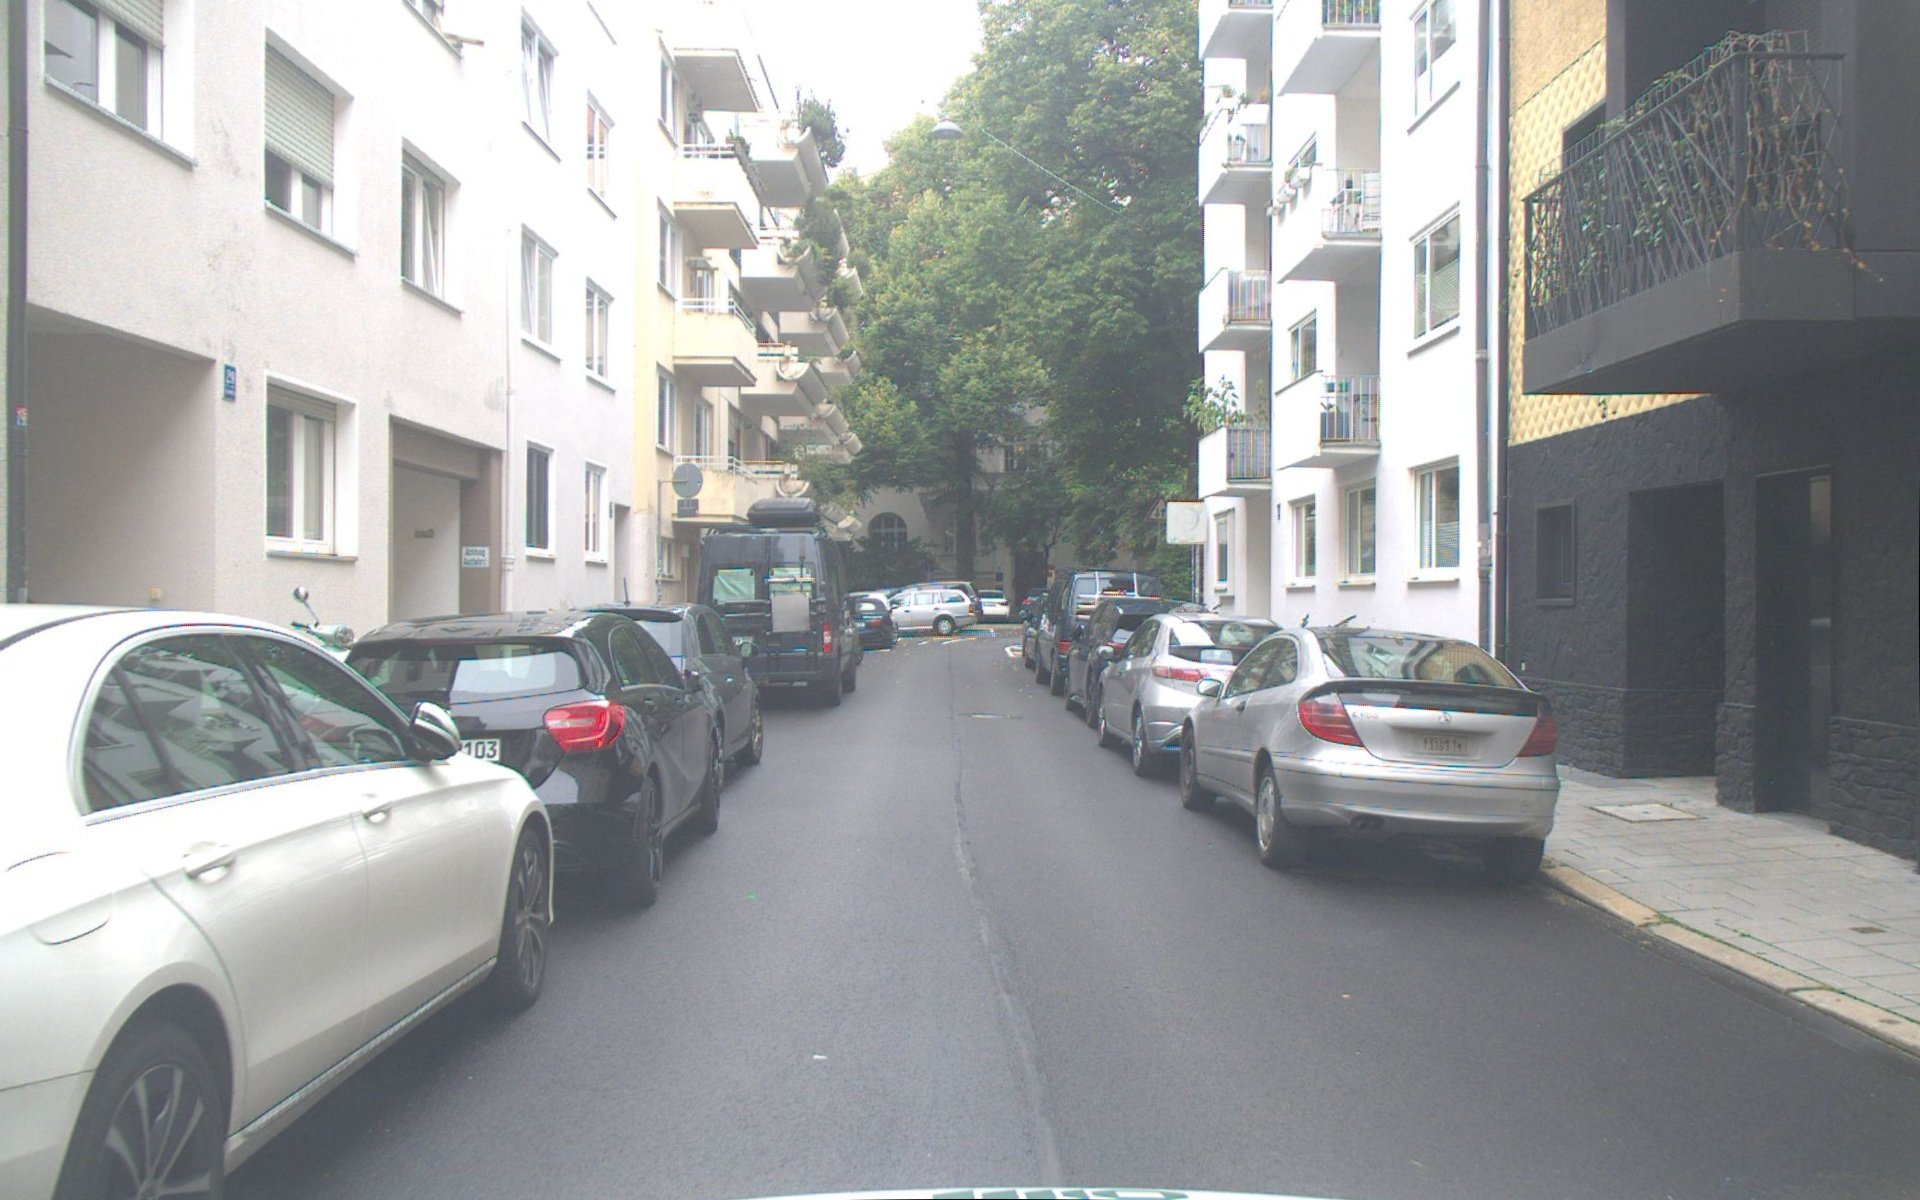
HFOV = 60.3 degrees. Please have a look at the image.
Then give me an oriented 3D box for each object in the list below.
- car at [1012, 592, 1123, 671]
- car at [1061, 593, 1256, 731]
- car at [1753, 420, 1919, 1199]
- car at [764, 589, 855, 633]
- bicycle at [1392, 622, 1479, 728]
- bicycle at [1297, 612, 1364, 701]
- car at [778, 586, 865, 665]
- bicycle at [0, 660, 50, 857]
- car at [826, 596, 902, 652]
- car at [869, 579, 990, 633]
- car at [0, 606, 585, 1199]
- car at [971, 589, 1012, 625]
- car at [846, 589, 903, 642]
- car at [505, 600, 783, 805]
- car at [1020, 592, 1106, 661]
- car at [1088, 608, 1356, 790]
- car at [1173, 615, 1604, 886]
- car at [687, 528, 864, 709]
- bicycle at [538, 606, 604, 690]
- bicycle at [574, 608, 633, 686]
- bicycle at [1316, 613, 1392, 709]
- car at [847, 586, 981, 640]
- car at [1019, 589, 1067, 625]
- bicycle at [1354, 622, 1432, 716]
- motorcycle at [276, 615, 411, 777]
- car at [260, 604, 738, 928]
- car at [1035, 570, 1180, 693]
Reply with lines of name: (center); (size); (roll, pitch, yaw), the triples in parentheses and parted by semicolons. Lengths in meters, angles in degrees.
car: (2.054, 0.568, 32.656); (1.796, 1.444, 4.057); (0, 0, -2)
car: (2.434, 0.717, 21.391); (1.867, 1.581, 4.624); (0, 0, -1)
car: (2.710, 0.642, 0.917); (1.942, 1.871, 5.182); (2, 0, -1)
car: (-5.854, 0.427, 64.334); (3.240, 1.659, 1.501); (0, 0, -20)
bicycle: (5.125, 0.785, 17.892); (0.467, 1.066, 1.521); (0, 0, -2)
bicycle: (5.140, 0.772, 23.007); (0.559, 1.171, 1.430); (0, 0, -2)
car: (-2.807, 0.492, 34.081); (1.587, 1.522, 3.707); (0, 0, -2)
bicycle: (-5.343, 0.865, 8.574); (0.390, 1.034, 1.574); (-1, 0, -1)
car: (-2.472, 0.584, 43.505); (1.760, 1.300, 4.616); (-2, 1, -1)
car: (-1.083, 0.205, 57.900); (4.135, 1.713, 1.901); (-2, 0, -3)
car: (-2.430, 0.755, 4.374); (1.873, 1.462, 4.807); (0, 0, -1)
car: (1.364, 0.267, 69.923); (1.683, 1.456, 4.001); (1, 0, 2)
car: (-2.479, 0.419, 48.342); (1.529, 1.446, 3.832); (-2, 0, -2)
car: (-2.576, 0.775, 14.297); (1.578, 1.471, 3.743); (-2, 0, 1)
car: (2.259, 0.559, 37.182); (1.707, 1.466, 4.000); (0, 0, 0)
car: (2.418, 0.863, 16.306); (1.724, 1.456, 4.259); (3, 0, -3)
car: (2.642, 0.846, 11.243); (1.699, 1.454, 4.200); (0, 0, -2)
car: (-2.581, 0.246, 24.433); (1.977, 2.318, 5.390); (-2, 0, 0)
bicycle: (-5.415, 0.648, 23.085); (0.453, 1.117, 1.870); (1, 0, 1)
bicycle: (-5.372, 0.691, 24.984); (0.453, 1.117, 1.870); (1, 0, 1)
bicycle: (5.088, 0.765, 21.431); (0.559, 1.171, 1.563); (0, 0, -2)
car: (-1.447, 0.395, 52.643); (4.142, 1.480, 1.721); (-3, 0, -2)
car: (3.481, 0.268, 68.938); (1.753, 1.456, 4.003); (1, 0, 6)
bicycle: (5.075, 0.789, 19.471); (0.467, 1.020, 1.552); (1, 0, -2)
motorcycle: (-5.059, 0.749, 13.679); (0.587, 1.224, 1.856); (0, 0, -6)
car: (-2.357, 0.748, 9.579); (1.765, 1.442, 4.224); (0, 0, -3)
car: (2.307, 0.467, 27.035); (1.836, 1.822, 4.781); (0, 0, -1)
